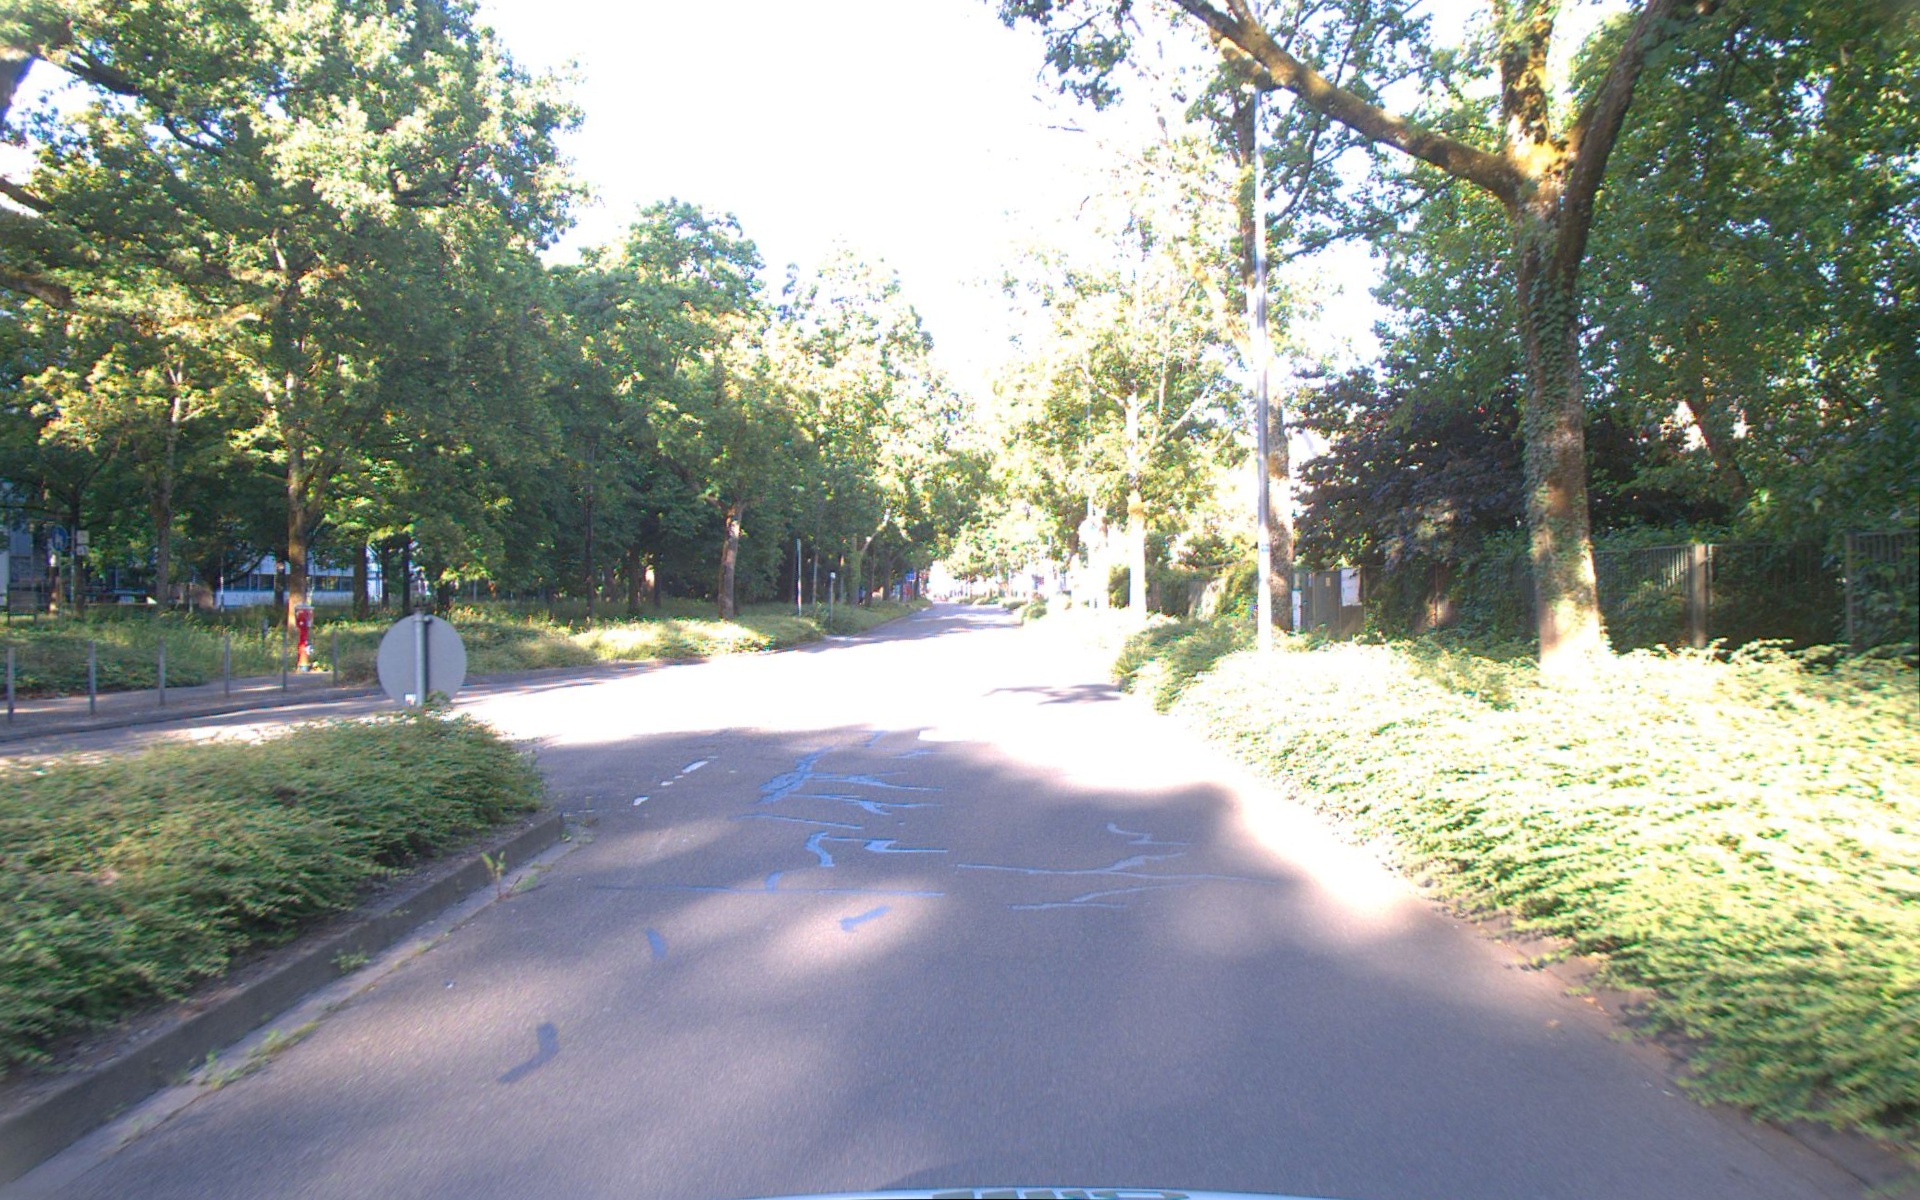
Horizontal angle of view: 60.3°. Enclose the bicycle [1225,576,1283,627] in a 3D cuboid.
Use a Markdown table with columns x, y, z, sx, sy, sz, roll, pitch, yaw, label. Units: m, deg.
| x | y | z | sx | sy | sz | roll | pitch | yaw | label |
| --- | --- | --- | --- | --- | --- | --- | --- | --- | --- |
| 7.641 | 0.037 | 42.833 | 0.866 | 1.221 | 2.325 | -3 | 0 | 25 | bicycle |
